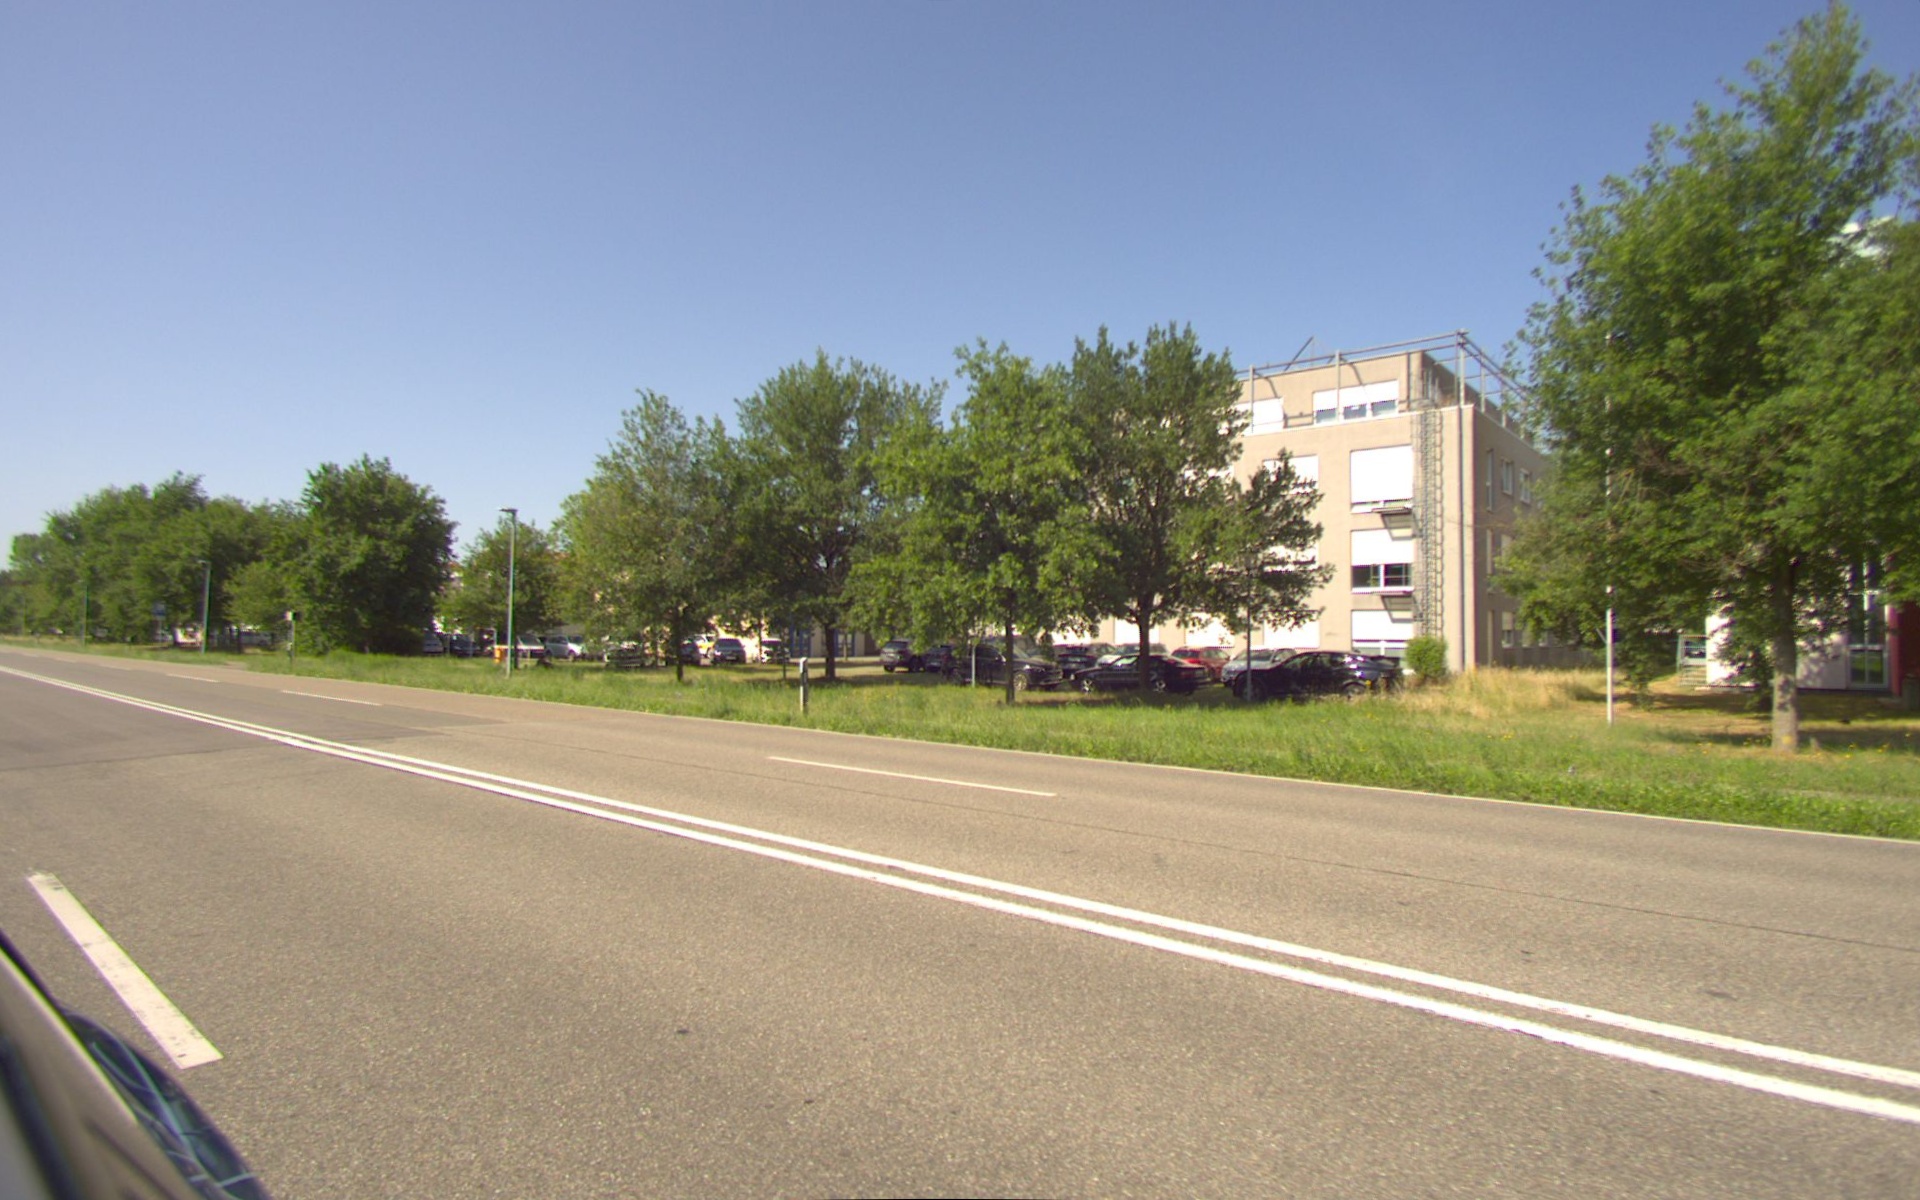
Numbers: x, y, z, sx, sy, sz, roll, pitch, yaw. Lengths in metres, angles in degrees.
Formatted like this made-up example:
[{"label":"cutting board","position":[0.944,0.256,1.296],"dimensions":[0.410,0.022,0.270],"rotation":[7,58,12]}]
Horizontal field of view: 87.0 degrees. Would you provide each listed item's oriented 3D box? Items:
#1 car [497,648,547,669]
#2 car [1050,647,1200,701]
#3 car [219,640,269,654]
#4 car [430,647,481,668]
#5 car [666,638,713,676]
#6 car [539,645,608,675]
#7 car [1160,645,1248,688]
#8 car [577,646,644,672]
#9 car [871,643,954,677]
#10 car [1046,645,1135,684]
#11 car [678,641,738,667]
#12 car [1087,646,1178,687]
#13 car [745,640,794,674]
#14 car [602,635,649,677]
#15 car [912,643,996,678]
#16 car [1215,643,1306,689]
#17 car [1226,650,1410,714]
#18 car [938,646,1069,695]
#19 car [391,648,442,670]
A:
[{"label":"car","position":[-30.744,4.073,71.024],"dimensions":[3.998,1.360,1.654],"rotation":[-2,-3,41]},{"label":"car","position":[5.223,2.312,32.506],"dimensions":[4.546,1.590,1.725],"rotation":[-2,-3,41]},{"label":"car","position":[-75.153,4.942,106.280],"dimensions":[1.757,1.512,3.945],"rotation":[-2,-3,41]},{"label":"car","position":[-34.139,3.853,68.421],"dimensions":[3.998,1.360,1.654],"rotation":[-2,-3,41]},{"label":"car","position":[-14.072,2.888,52.384],"dimensions":[2.038,1.820,5.031],"rotation":[1,-2,-18]},{"label":"car","position":[-22.243,3.423,58.196],"dimensions":[4.188,1.664,1.909],"rotation":[-2,-3,40]},{"label":"car","position":[9.484,2.537,39.131],"dimensions":[1.741,1.548,3.946],"rotation":[-2,-3,40]},{"label":"car","position":[-20.702,3.465,59.911],"dimensions":[4.188,1.404,1.909],"rotation":[-2,-3,40]},{"label":"car","position":[-2.257,2.870,49.040],"dimensions":[1.886,1.548,3.946],"rotation":[-2,-3,40]},{"label":"car","position":[5.553,2.678,42.787],"dimensions":[1.886,1.548,3.946],"rotation":[-2,-3,40]},{"label":"car","position":[-16.733,3.571,67.145],"dimensions":[4.167,1.670,1.837],"rotation":[-2,-3,41]},{"label":"car","position":[6.953,2.607,40.608],"dimensions":[1.886,1.548,3.946],"rotation":[-2,-3,40]},{"label":"car","position":[-10.817,3.184,57.282],"dimensions":[2.038,1.820,5.031],"rotation":[1,-2,-18]},{"label":"car","position":[-16.464,2.719,49.850],"dimensions":[2.038,1.944,5.031],"rotation":[1,-2,-18]},{"label":"car","position":[-0.251,2.821,47.738],"dimensions":[1.886,1.548,3.946],"rotation":[-2,-3,40]},{"label":"car","position":[11.195,2.408,37.560],"dimensions":[1.741,1.598,4.093],"rotation":[-2,-3,40]},{"label":"car","position":[9.927,2.218,28.274],"dimensions":[4.546,1.590,1.725],"rotation":[-2,-3,41]},{"label":"car","position":[1.474,2.416,35.637],"dimensions":[4.546,1.590,1.725],"rotation":[-2,-3,41]},{"label":"car","position":[-35.498,3.845,66.086],"dimensions":[3.998,1.360,1.654],"rotation":[-2,-3,41]}]
